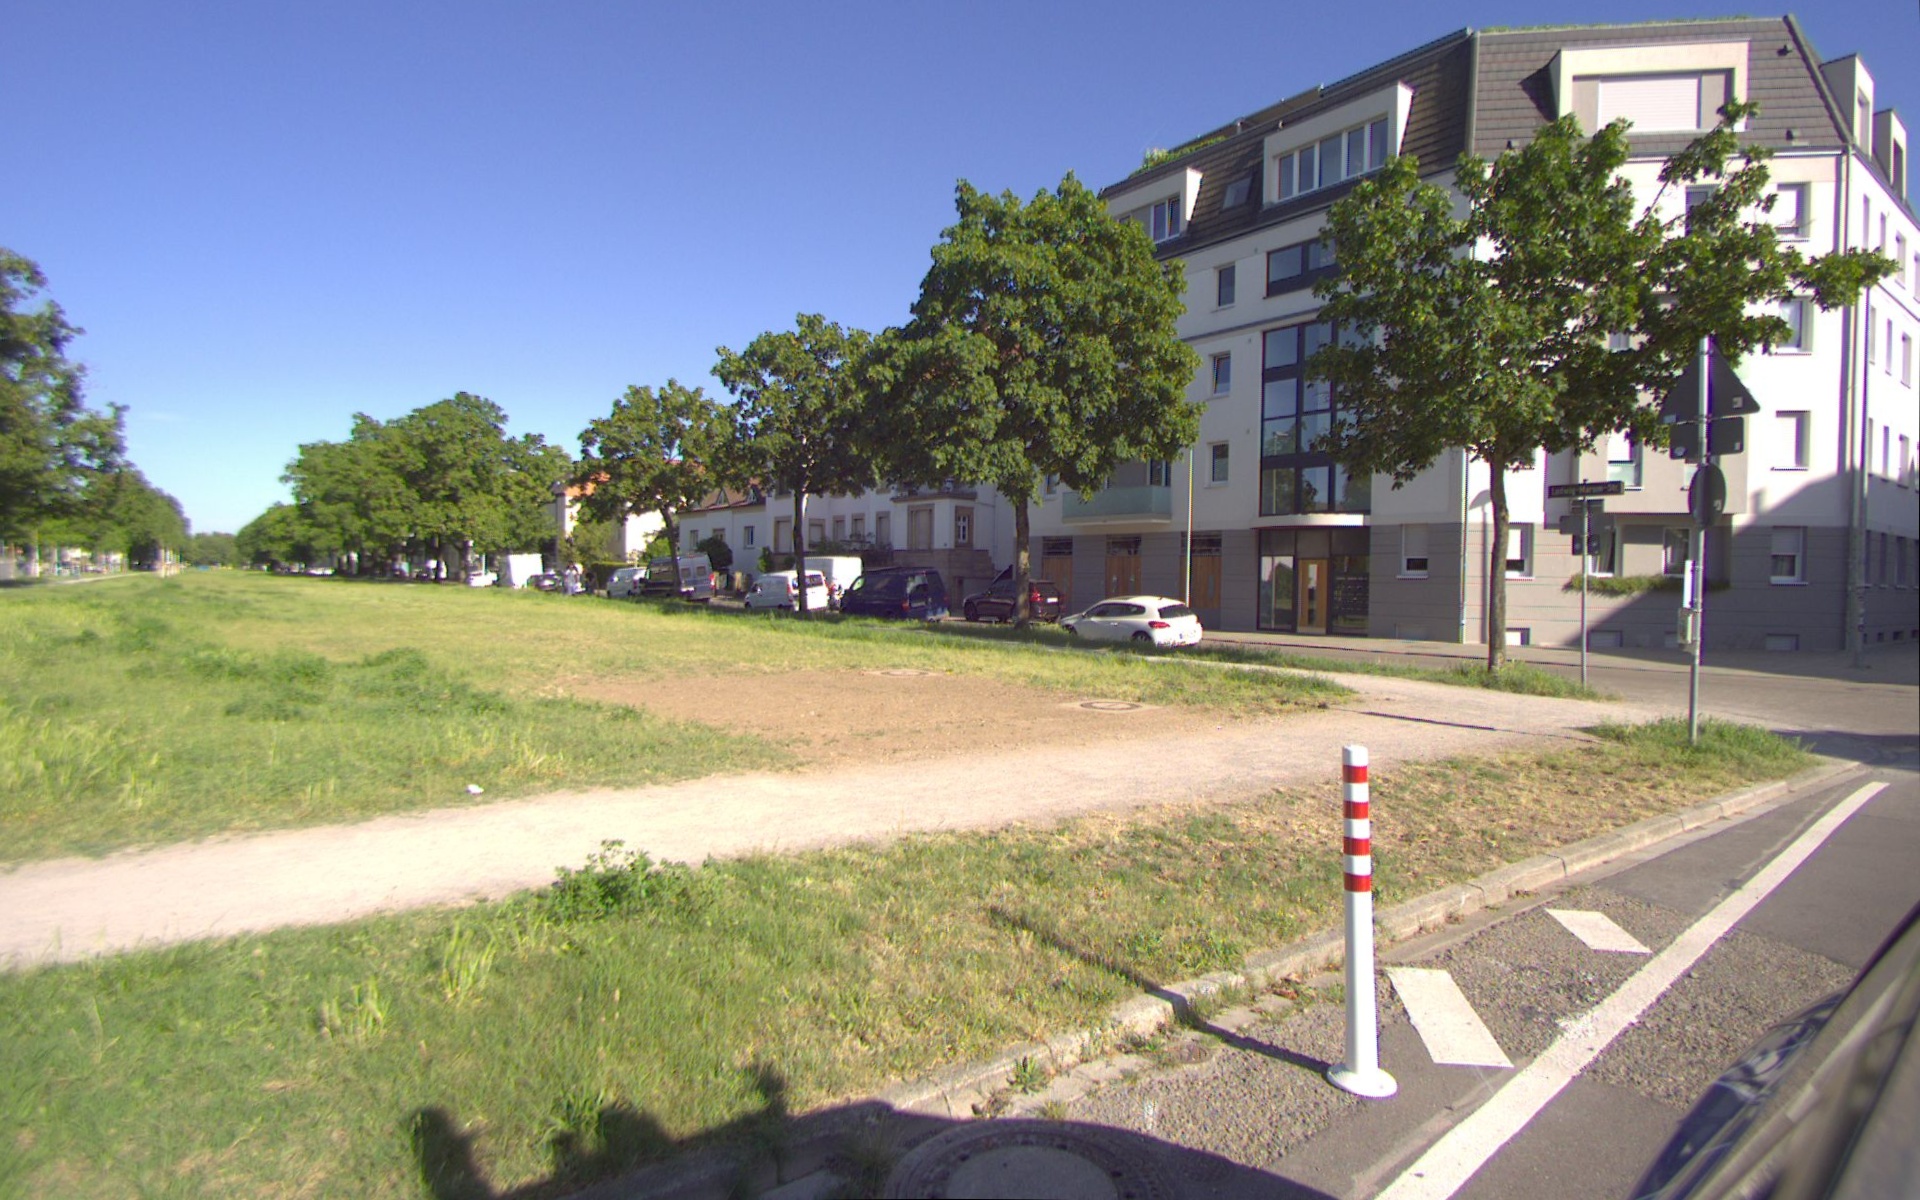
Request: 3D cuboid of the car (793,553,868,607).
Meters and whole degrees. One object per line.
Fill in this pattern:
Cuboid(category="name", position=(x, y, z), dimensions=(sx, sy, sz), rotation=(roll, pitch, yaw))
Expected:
Cuboid(category="car", position=(-6.398, -1.030, 49.778), dimensions=(1.985, 2.580, 3.994), rotation=(-1, 2, -36))

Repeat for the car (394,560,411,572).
Cuboid(category="car", position=(-87.473, -5.342, 158.712), dimensions=(1.831, 1.868, 3.994), rotation=(0, 2, -36))

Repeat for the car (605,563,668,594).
Cuboid(category="car", position=(-17.849, -1.213, 55.744), dimensions=(2.046, 1.618, 4.288), rotation=(0, 2, -36))

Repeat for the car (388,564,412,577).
Cuboid(category="car", position=(-69.184, -3.669, 124.911), dimensions=(2.042, 1.484, 4.728), rotation=(0, 2, -36))

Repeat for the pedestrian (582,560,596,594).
Cuboid(category="pedestrian", position=(-17.060, -1.067, 46.534), dimensions=(0.487, 1.524, 0.535), rotation=(1, 1, -37))

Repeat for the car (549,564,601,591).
Cuboid(category="car", position=(-24.618, -1.459, 64.633), dimensions=(2.046, 1.618, 4.288), rotation=(0, 2, -36))

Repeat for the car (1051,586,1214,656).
Cuboid(category="car", position=(4.312, 0.471, 25.750), dimensions=(1.709, 1.450, 3.993), rotation=(-5, 5, -37))

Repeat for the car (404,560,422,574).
Cuboid(category="car", position=(-78.995, -4.795, 146.178), dimensions=(1.831, 1.868, 3.994), rotation=(0, 2, -36))

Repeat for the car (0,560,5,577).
Cuboid(category="car", position=(-80.074, -2.626, 83.292), dimensions=(1.690, 1.358, 3.808), rotation=(0, 2, -37))

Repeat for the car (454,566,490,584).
Cuboid(category="car", position=(-42.597, -2.201, 88.361), dimensions=(2.042, 1.484, 4.728), rotation=(0, 2, -36))

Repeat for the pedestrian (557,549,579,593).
Cuboid(category="pedestrian", position=(-17.127, -1.275, 44.181), dimensions=(0.711, 1.900, 0.629), rotation=(1, 1, -38))

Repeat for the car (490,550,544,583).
Cuboid(category="car", position=(-33.240, -2.500, 75.811), dimensions=(2.503, 2.363, 5.920), rotation=(0, 2, -36))

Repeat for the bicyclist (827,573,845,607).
Cuboid(category="bicyclist", position=(-5.443, -0.434, 44.375), dimensions=(0.489, 1.482, 0.687), rotation=(1, 1, -37))

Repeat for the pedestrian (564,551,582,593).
Cuboid(category="pedestrian", position=(-17.770, -1.269, 46.470), dimensions=(0.632, 1.900, 0.629), rotation=(0, 1, -38))

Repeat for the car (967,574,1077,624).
Cuboid(category="car", position=(2.269, -0.104, 38.099), dimensions=(1.861, 1.703, 4.289), rotation=(-1, 3, -36))

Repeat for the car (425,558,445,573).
Cuboid(category="car", position=(-70.602, -4.654, 136.179), dimensions=(1.831, 1.868, 3.994), rotation=(0, 2, -36))

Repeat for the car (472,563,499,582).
Cuboid(category="car", position=(-50.655, -2.953, 108.042), dimensions=(1.831, 1.868, 3.994), rotation=(0, 2, -36))

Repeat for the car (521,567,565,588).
Cuboid(category="car", position=(-29.151, -1.562, 70.691), dimensions=(1.898, 1.361, 4.110), rotation=(0, 2, -36))

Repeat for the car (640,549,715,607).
Cuboid(category="car", position=(-14.014, -1.133, 50.066), dimensions=(2.153, 2.615, 4.288), rotation=(-5, 4, -36))

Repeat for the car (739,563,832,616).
Cuboid(category="car", position=(-7.088, -0.474, 40.791), dimensions=(1.843, 1.906, 4.423), rotation=(-5, 5, -37))

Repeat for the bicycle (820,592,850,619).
Cuboid(category="bicycle", position=(-5.481, 0.226, 44.424), dimensions=(0.498, 1.102, 1.708), rotation=(0, 2, -37))

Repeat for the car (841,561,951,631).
Cuboid(category="car", position=(-2.213, -0.210, 34.096), dimensions=(1.752, 2.108, 3.994), rotation=(-5, 5, -36))
